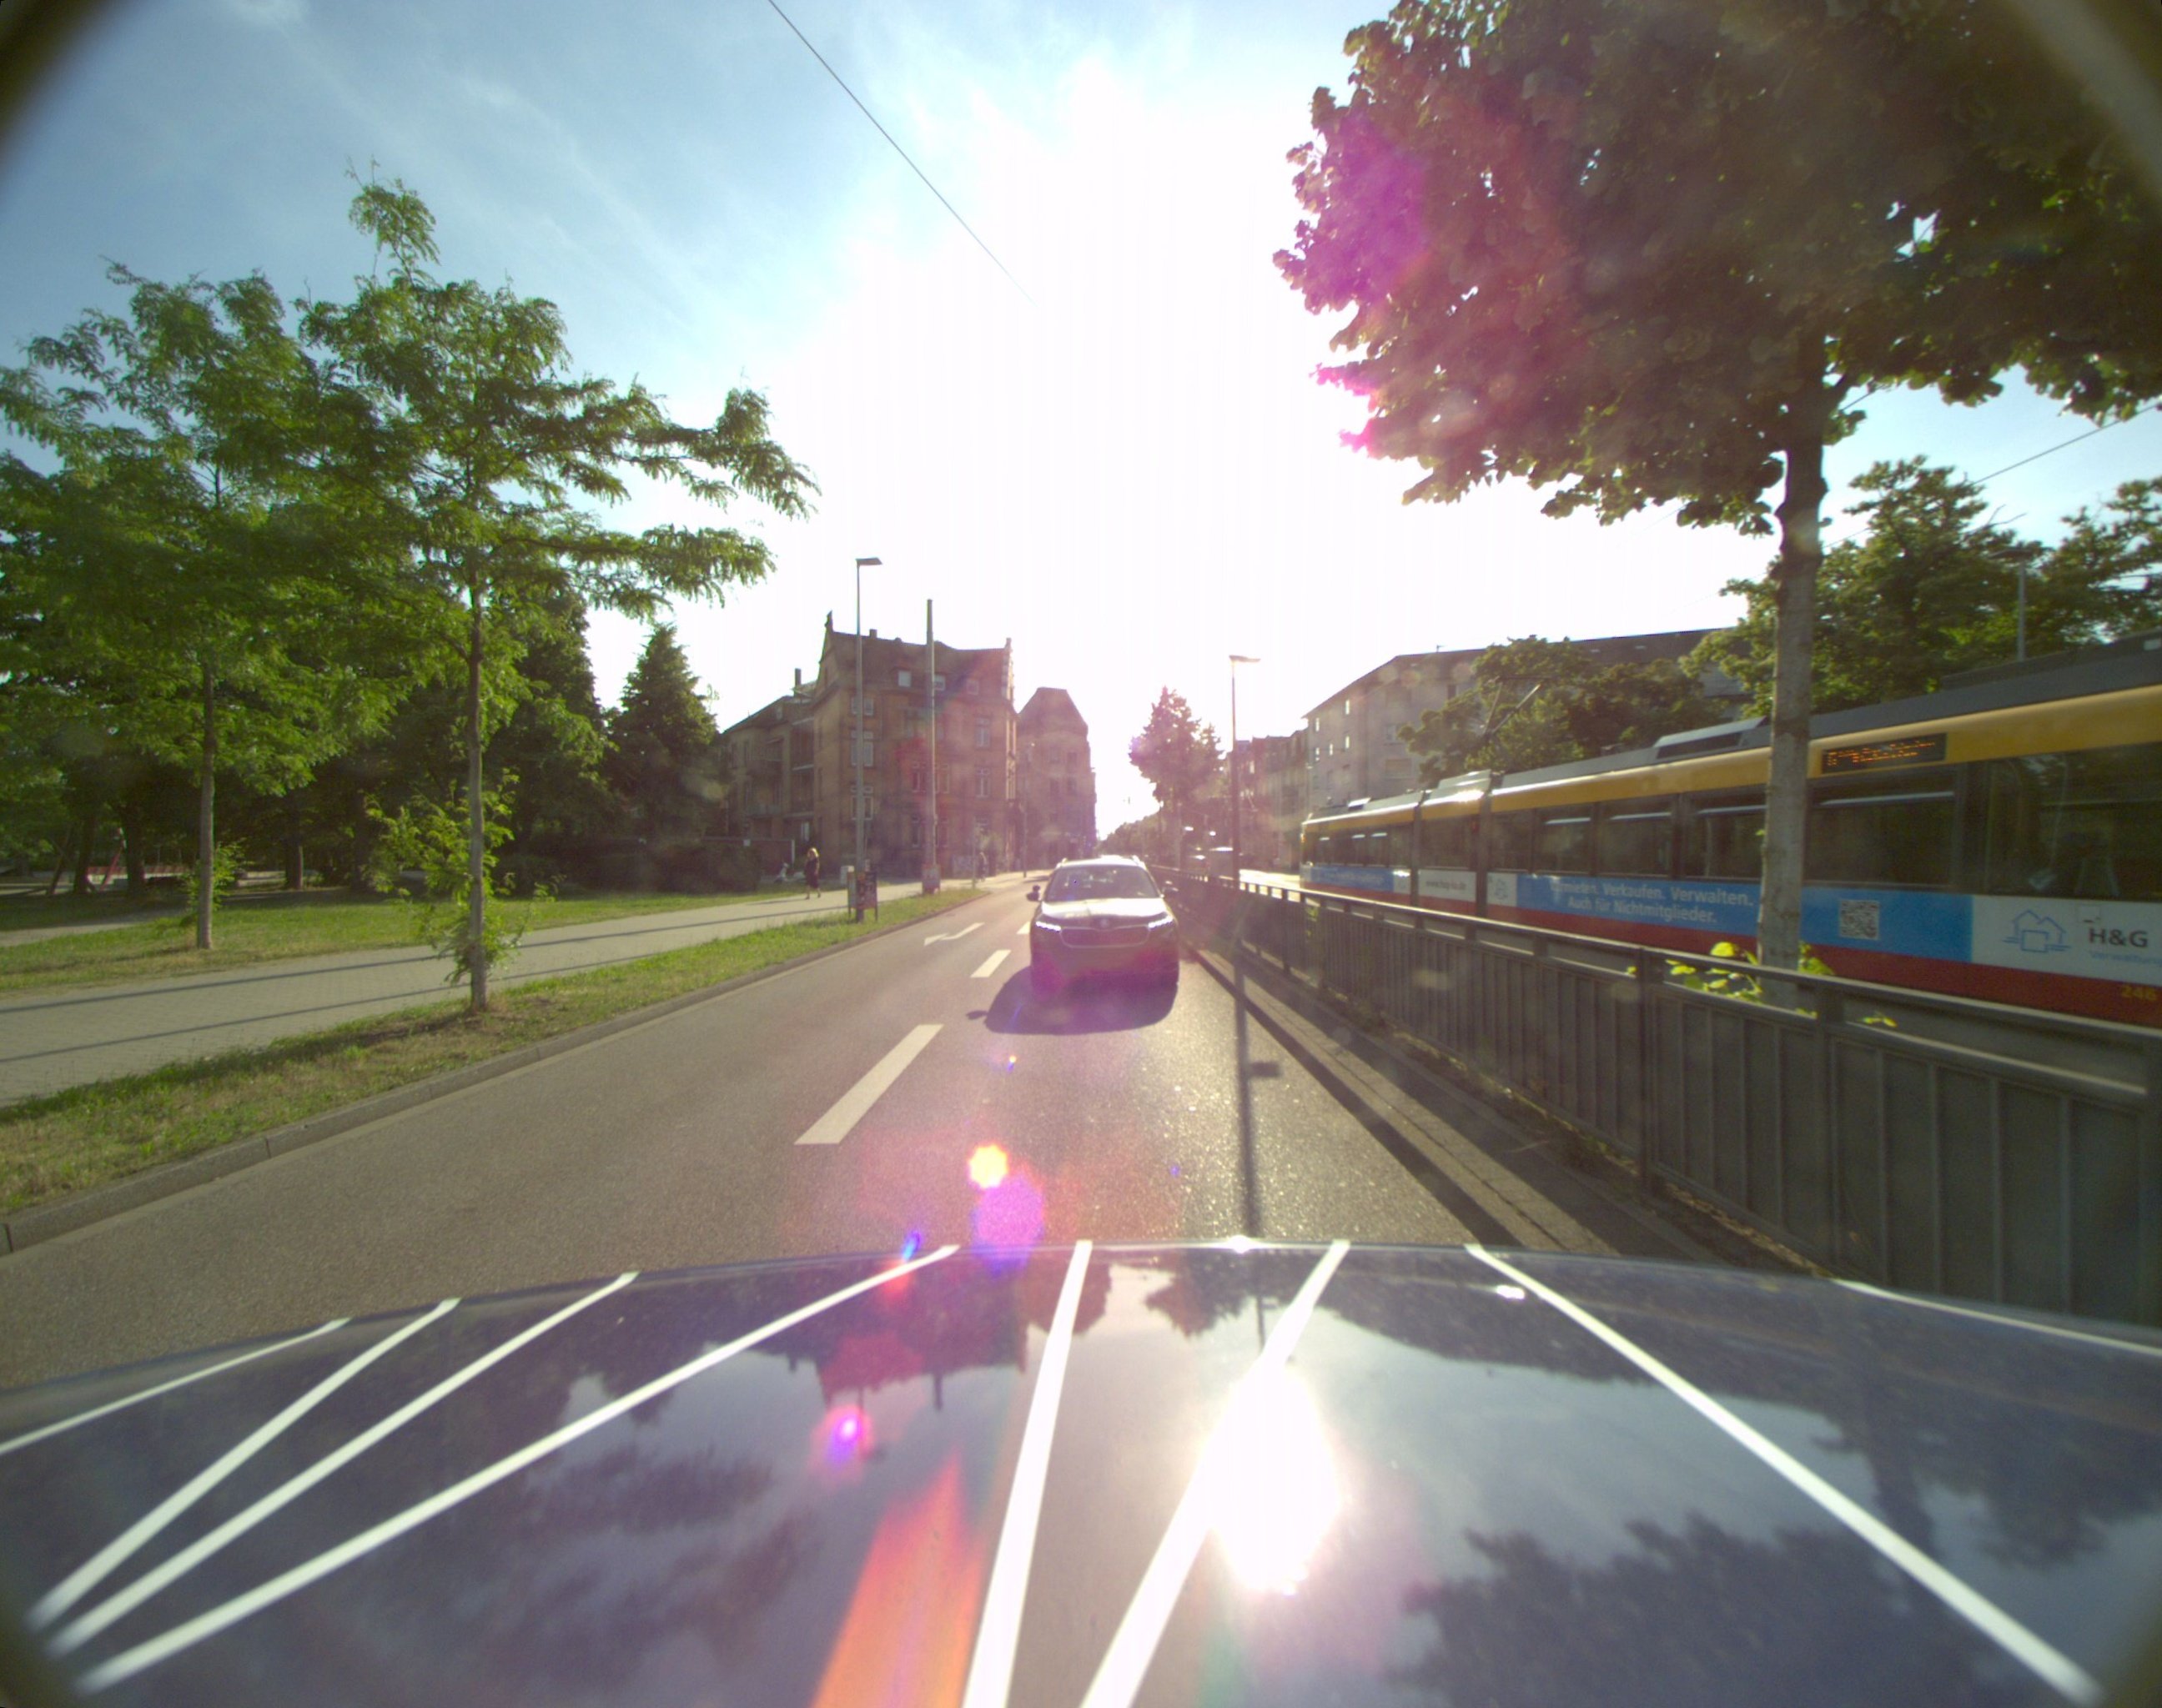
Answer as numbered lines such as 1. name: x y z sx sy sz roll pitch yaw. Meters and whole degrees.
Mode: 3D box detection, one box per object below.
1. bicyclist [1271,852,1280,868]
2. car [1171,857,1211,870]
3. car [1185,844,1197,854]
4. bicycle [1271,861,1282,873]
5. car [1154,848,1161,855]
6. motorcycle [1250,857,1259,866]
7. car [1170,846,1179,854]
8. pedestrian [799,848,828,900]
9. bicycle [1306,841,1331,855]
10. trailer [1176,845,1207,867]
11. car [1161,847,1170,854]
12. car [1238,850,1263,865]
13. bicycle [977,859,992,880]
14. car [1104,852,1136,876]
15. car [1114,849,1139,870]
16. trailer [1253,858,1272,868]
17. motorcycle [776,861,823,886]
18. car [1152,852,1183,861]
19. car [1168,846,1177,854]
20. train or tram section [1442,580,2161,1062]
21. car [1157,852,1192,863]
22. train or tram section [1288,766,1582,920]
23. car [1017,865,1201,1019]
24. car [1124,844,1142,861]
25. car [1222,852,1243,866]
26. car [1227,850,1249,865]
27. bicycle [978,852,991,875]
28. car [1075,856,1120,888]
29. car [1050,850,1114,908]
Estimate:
1. bicyclist: 17.702 0.560 69.170 0.652 1.405 0.717 -1 0 4
2. car: 11.735 0.983 81.365 3.941 1.352 1.676 1 1 38
3. car: 22.678 -1.110 156.475 1.998 2.002 4.000 -1 0 2
4. bicycle: 17.756 1.182 68.989 0.543 1.012 2.251 -1 0 5
5. car: 23.061 -0.658 229.249 1.998 2.002 4.000 -1 0 1
6. motorcycle: 19.629 0.840 85.915 0.637 1.074 1.734 -1 0 2
7. car: 23.105 -0.989 187.534 1.998 2.002 4.001 -1 0 5
8. pedestrian: -8.962 0.670 25.440 0.616 1.682 0.549 5 1 5
9. bicycle: 18.988 -0.438 60.756 1.912 1.104 0.736 0 1 22
10. trailer: 12.291 0.240 84.396 2.858 2.378 1.726 -1 0 33
11. car: 23.459 -1.008 211.290 1.998 2.002 4.000 -1 0 1
12. car: 19.951 0.433 89.840 2.170 1.739 4.719 -1 0 4
13. bicycle: -5.519 0.866 43.426 0.484 1.183 1.340 -1 0 7
14. car: 2.701 0.643 51.717 1.997 1.565 4.002 -1 0 6
15. car: 4.031 0.437 67.320 1.998 1.772 4.000 0 0 1
16. trailer: 19.859 0.975 83.428 1.444 0.891 2.880 -4 0 2
17. motorcycle: -13.664 0.944 36.956 2.002 1.153 0.708 -1 0 -4
18. car: 13.272 0.364 116.597 4.259 1.414 2.176 -1 0 43
19. car: 23.902 -1.104 198.701 1.998 2.002 4.001 -1 0 5
20. train or tram section: 9.554 -0.252 10.117 3.169 3.459 14.474 -1 0 2
21. car: 12.587 0.450 102.257 4.294 1.414 1.963 -1 0 43
22. train or tram section: 10.081 -0.244 24.649 3.169 3.459 14.534 -1 0 2
23. car: 0.393 0.903 9.604 1.839 1.472 4.001 0 0 3
24. car: 6.319 -0.209 93.378 1.998 2.002 4.000 0 0 1
25. car: 20.247 0.668 101.748 2.170 1.739 4.611 -1 0 4
26. car: 19.939 0.441 96.551 2.170 1.739 4.611 -1 0 4
27. bicycle: -5.526 0.562 43.411 0.574 1.290 0.688 -1 0 7
28. car: 0.910 0.885 39.959 1.997 1.565 4.002 -1 0 6
29. car: 0.061 0.791 26.341 1.998 1.827 4.000 -1 0 1
